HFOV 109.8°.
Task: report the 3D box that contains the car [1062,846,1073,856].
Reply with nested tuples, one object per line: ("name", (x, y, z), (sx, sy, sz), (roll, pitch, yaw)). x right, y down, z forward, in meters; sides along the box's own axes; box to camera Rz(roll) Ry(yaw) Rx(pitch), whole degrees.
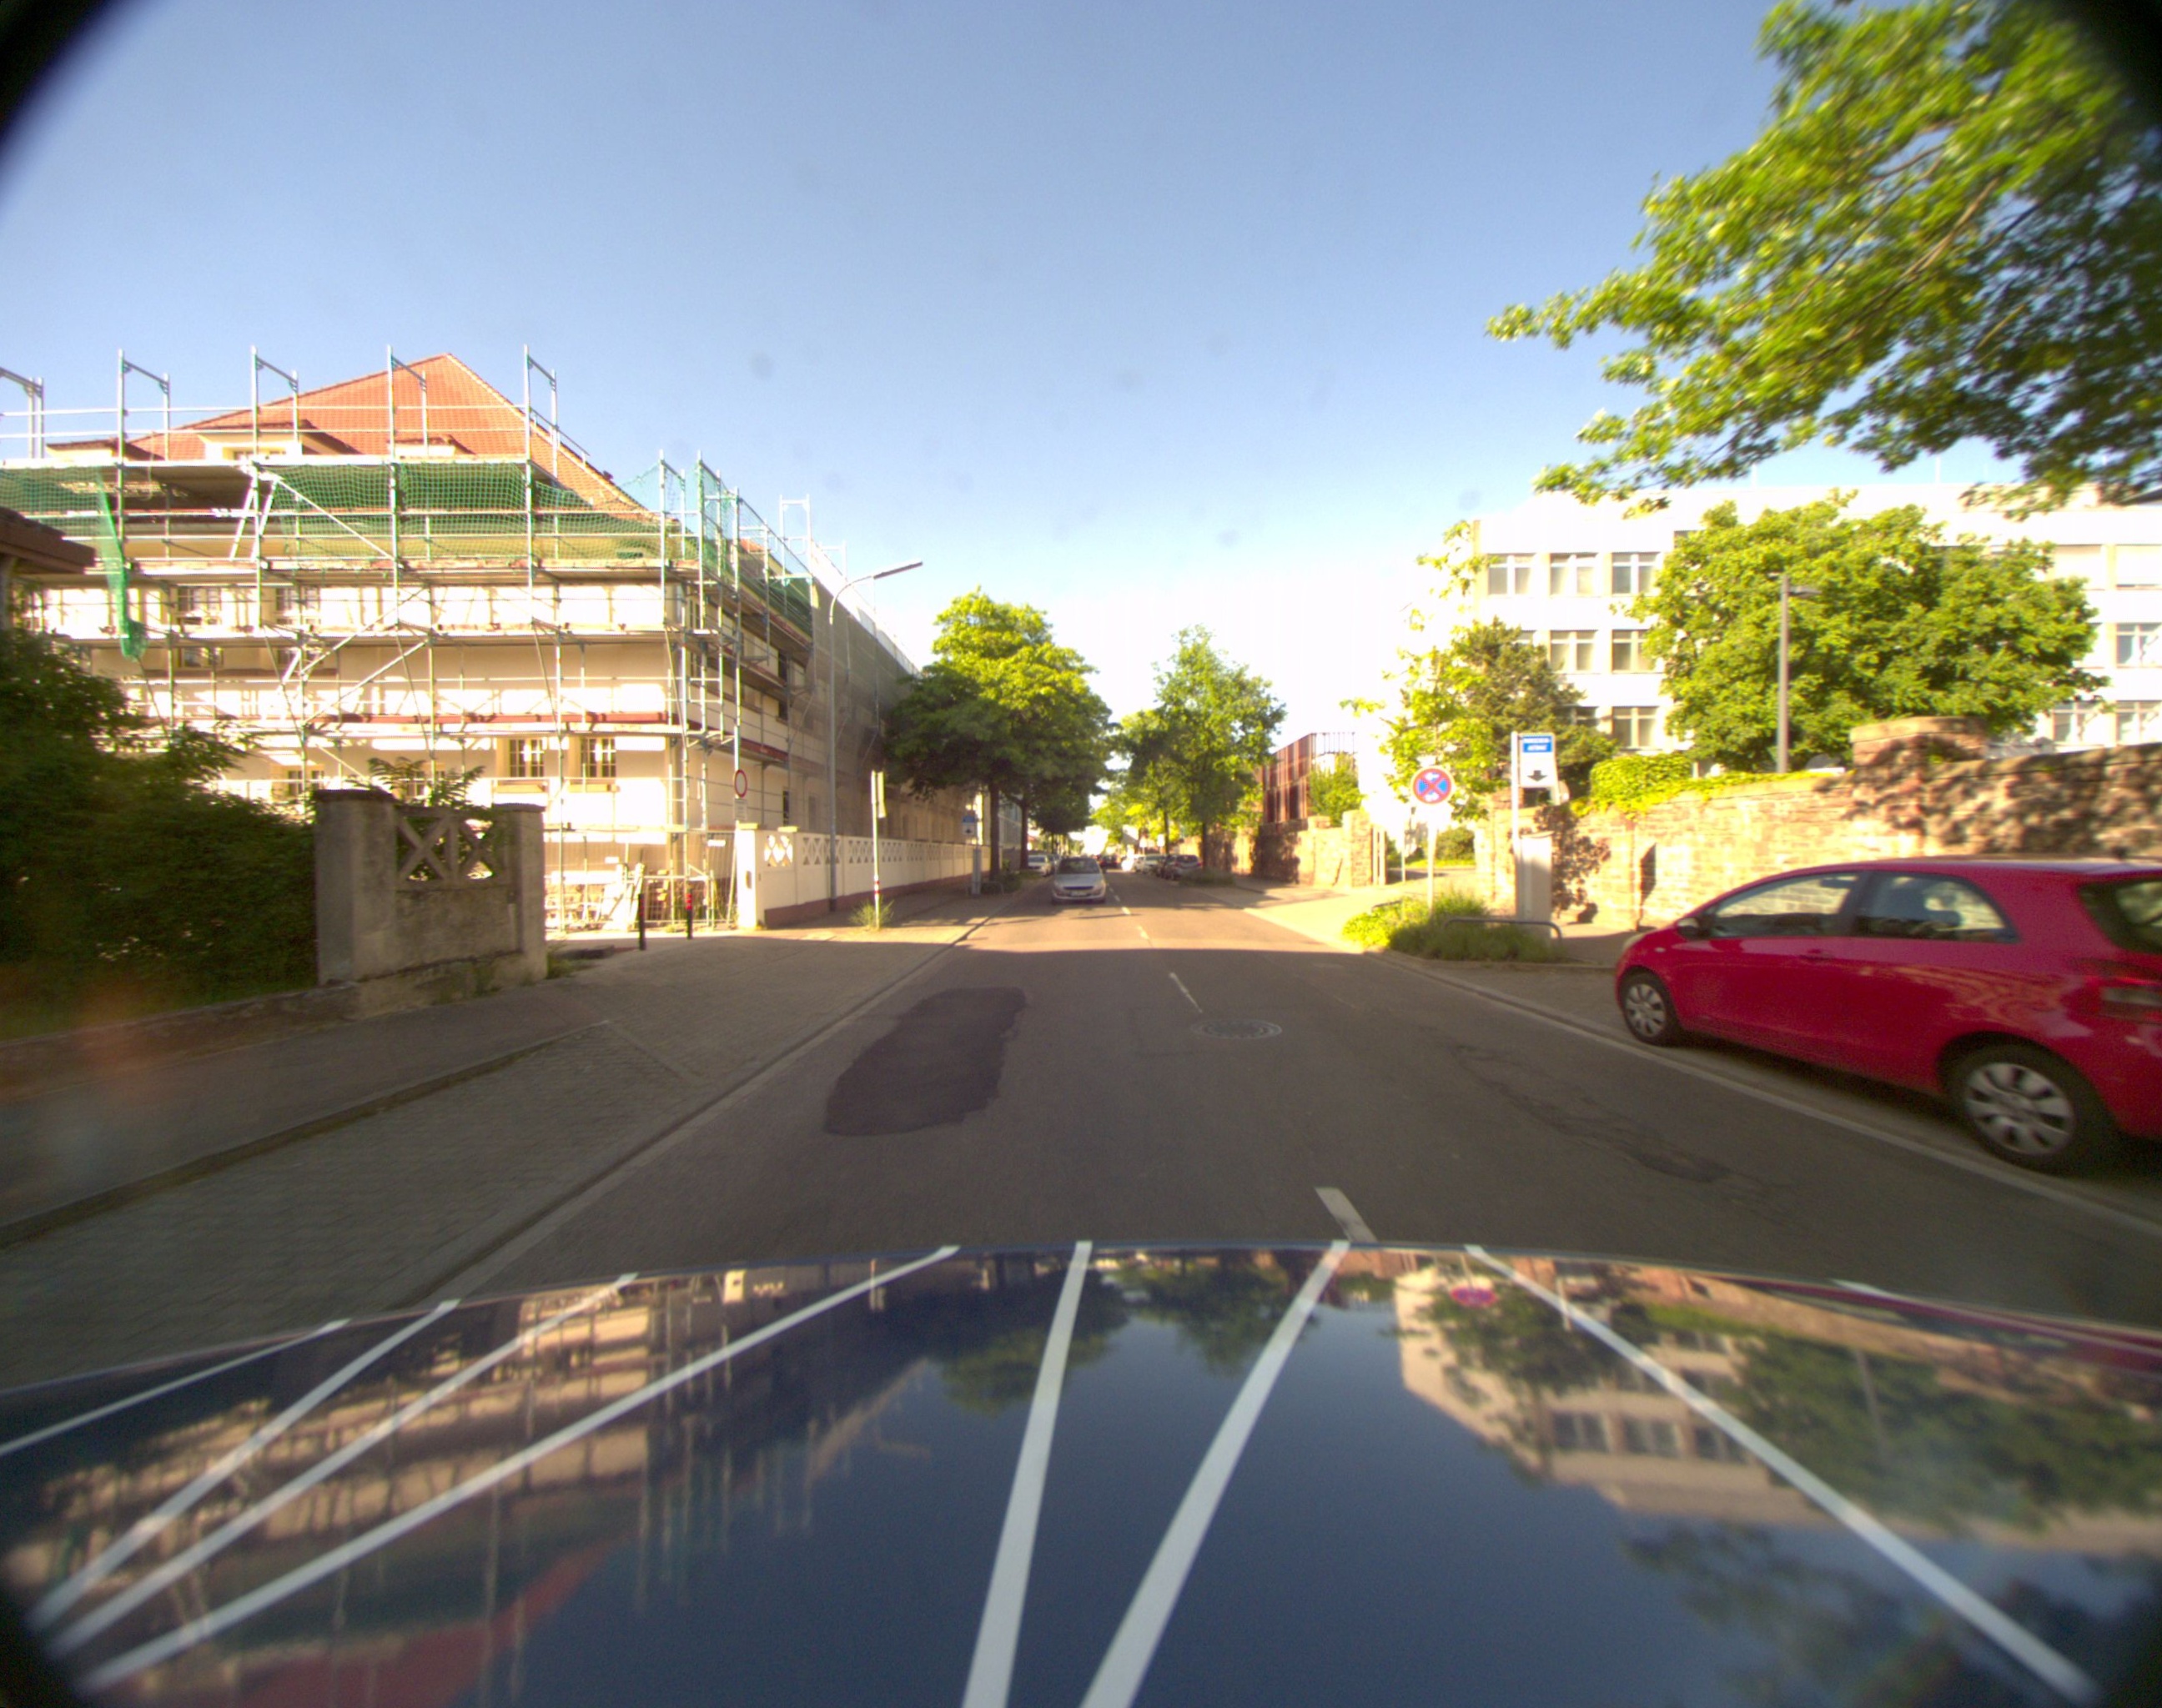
("car", (-2.269, -0.549, 129.071), (1.887, 1.592, 4.298), (-1, 1, 0))

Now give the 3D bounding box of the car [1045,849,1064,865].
("car", (-2.721, 0.294, 78.682), (1.797, 1.606, 4.125), (-2, 0, -1))

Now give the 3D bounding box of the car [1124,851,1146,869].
("car", (4.715, 0.495, 67.010), (1.578, 1.394, 3.750), (-4, 0, 0))

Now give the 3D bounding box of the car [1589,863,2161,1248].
("car", (5.273, 0.855, 4.827), (1.613, 1.450, 3.708), (-2, 1, 1))

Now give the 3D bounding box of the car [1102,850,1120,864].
("car", (3.201, 0.322, 81.545), (1.826, 1.428, 3.969), (1, 0, 1))

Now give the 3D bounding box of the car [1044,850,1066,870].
("car", (-2.136, 0.473, 62.808), (1.716, 1.629, 4.301), (-1, 0, -1))

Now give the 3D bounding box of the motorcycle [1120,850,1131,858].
("motorcycle", (6.292, 0.000, 106.987), (0.599, 1.026, 2.132), (-1, 0, 35))

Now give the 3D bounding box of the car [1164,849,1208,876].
("car", (5.950, 0.444, 43.401), (1.692, 1.413, 3.837), (-3, 1, -4))

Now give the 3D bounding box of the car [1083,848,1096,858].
("car", (1.508, -0.214, 137.247), (1.833, 1.732, 4.001), (-2, 1, 6))

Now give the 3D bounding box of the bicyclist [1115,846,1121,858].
("bicyclist", (4.694, -0.257, 96.528), (0.722, 1.514, 1.005), (-2, 1, 3))

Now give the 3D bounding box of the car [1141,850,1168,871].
("car", (5.788, 0.458, 60.148), (1.681, 1.502, 3.849), (-4, 0, 1))

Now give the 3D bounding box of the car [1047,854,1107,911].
("car", (-0.055, 0.851, 24.919), (1.748, 1.613, 4.106), (-2, 1, 2))

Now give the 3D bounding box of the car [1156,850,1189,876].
("car", (5.771, 0.547, 48.384), (1.577, 1.506, 4.044), (-1, 1, 0))

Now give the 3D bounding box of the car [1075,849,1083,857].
("car", (-0.486, -0.234, 167.318), (1.757, 1.459, 3.485), (-2, 1, -1))

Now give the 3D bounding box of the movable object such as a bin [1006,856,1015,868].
("movable object such as a bin", (-6.086, 0.681, 65.725), (0.599, 1.021, 0.564), (-2, 1, 4))

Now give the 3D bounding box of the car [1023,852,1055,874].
("car", (-2.910, 0.607, 53.514), (1.727, 1.501, 3.992), (1, 0, 3))
